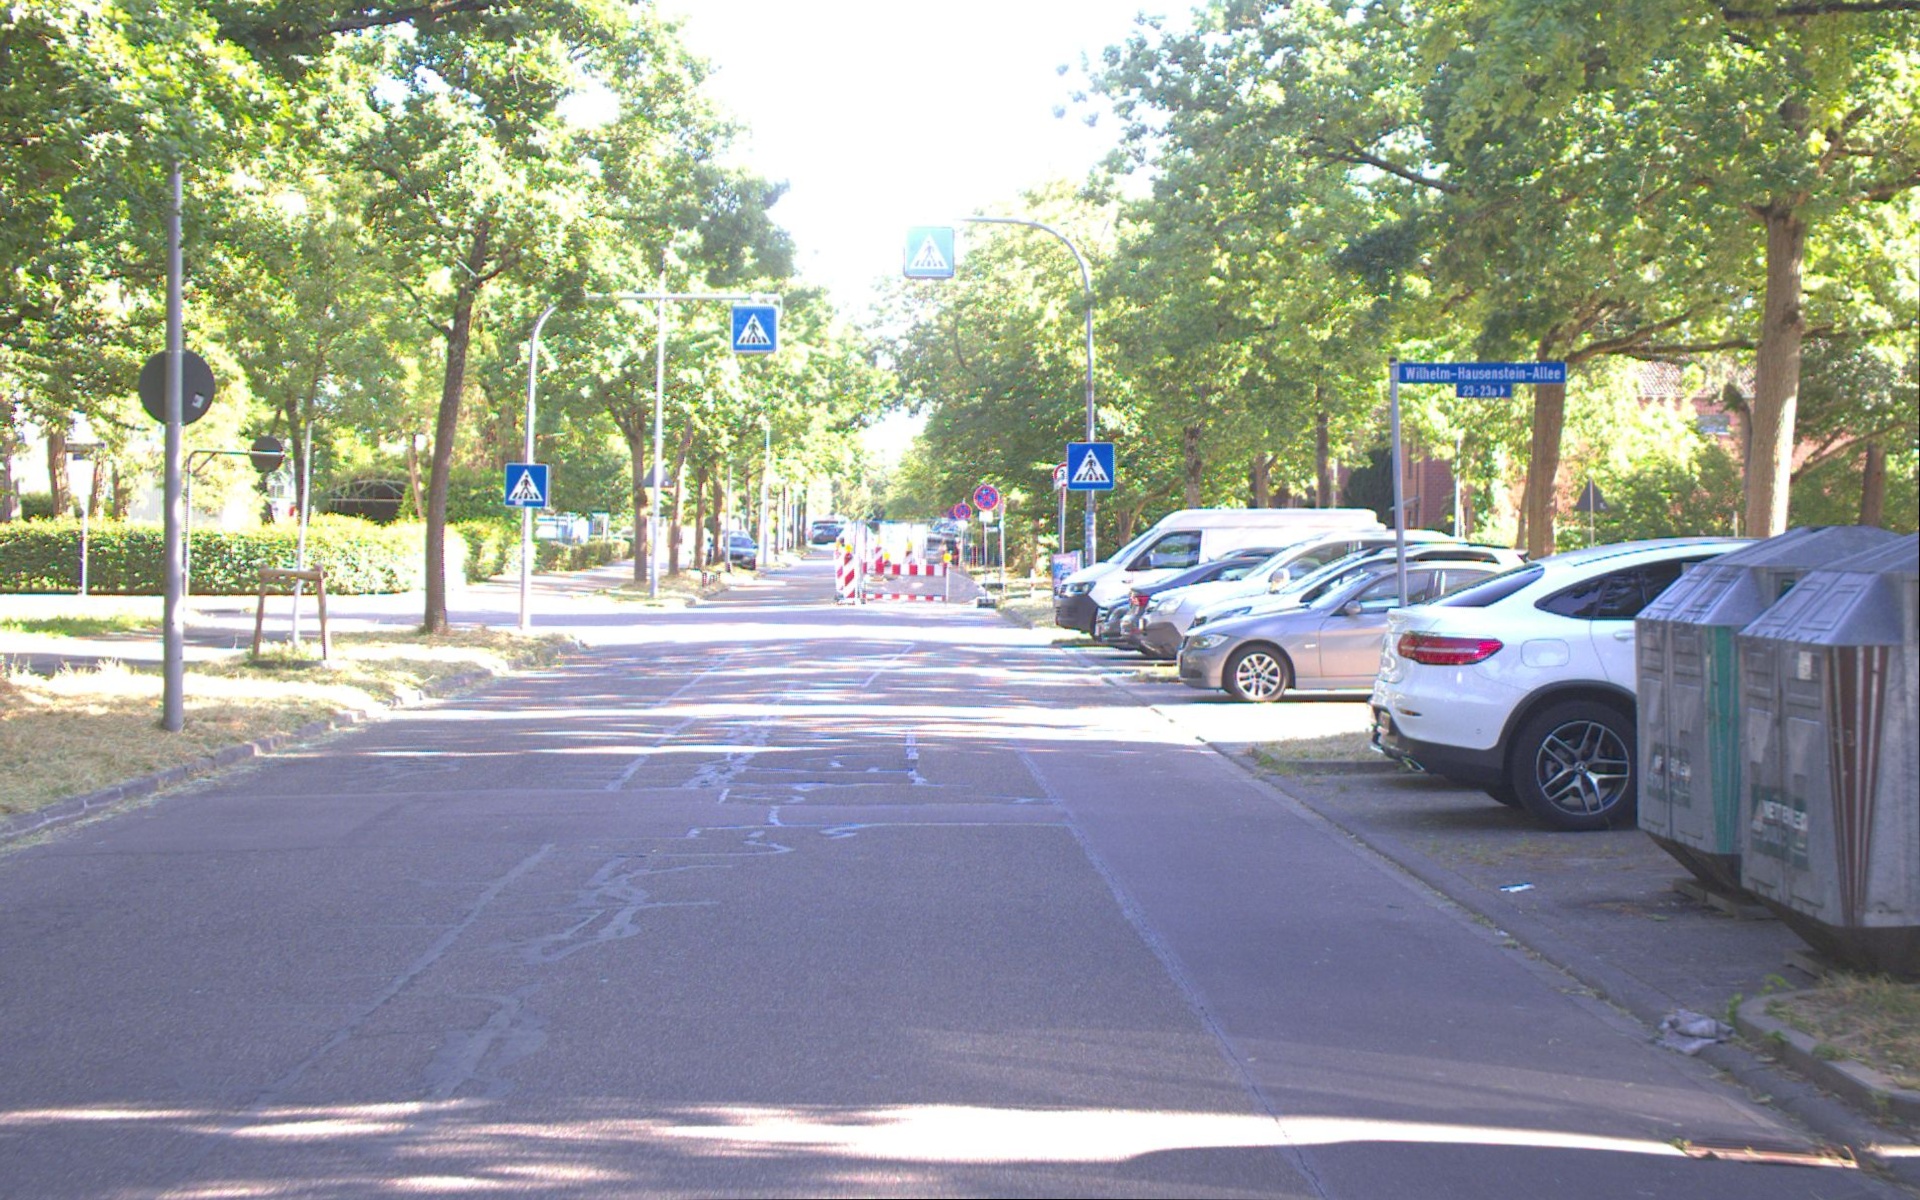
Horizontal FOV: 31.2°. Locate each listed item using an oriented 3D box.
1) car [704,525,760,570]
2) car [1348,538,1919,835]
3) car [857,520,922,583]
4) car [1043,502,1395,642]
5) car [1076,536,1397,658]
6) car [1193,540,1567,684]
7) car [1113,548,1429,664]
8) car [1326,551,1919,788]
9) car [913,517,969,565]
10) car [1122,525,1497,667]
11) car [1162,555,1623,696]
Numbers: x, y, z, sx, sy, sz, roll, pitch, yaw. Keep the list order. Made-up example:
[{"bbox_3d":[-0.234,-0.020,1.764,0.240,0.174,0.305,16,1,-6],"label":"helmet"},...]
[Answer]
[{"bbox_3d":[-8.991,-2.088,135.926,1.993,1.711,4.000,1,1,-2],"label":"car"},{"bbox_3d":[4.690,0.448,19.820,4.670,1.575,1.917,-1,1,0],"label":"car"},{"bbox_3d":[-2.244,-1.544,108.744,1.993,1.926,4.000,1,1,-2],"label":"car"},{"bbox_3d":[3.949,-0.435,53.036,5.186,2.098,2.083,0,1,-2],"label":"car"},{"bbox_3d":[3.812,-0.058,47.890,4.212,1.563,1.934,1,1,-2],"label":"car"},{"bbox_3d":[4.621,0.118,38.180,3.884,1.492,1.777,-1,1,-1],"label":"car"},{"bbox_3d":[4.046,0.063,45.267,3.987,1.428,1.901,1,1,1],"label":"car"},{"bbox_3d":[4.920,0.430,23.105,4.670,1.450,1.917,-1,1,-1],"label":"car"},{"bbox_3d":[-0.745,-2.233,129.751,1.993,1.711,4.000,1,1,-2],"label":"car"},{"bbox_3d":[4.297,-0.073,42.732,4.384,1.645,1.851,-1,1,-2],"label":"car"},{"bbox_3d":[4.357,0.243,35.130,4.445,1.385,1.911,0,1,-1],"label":"car"}]
